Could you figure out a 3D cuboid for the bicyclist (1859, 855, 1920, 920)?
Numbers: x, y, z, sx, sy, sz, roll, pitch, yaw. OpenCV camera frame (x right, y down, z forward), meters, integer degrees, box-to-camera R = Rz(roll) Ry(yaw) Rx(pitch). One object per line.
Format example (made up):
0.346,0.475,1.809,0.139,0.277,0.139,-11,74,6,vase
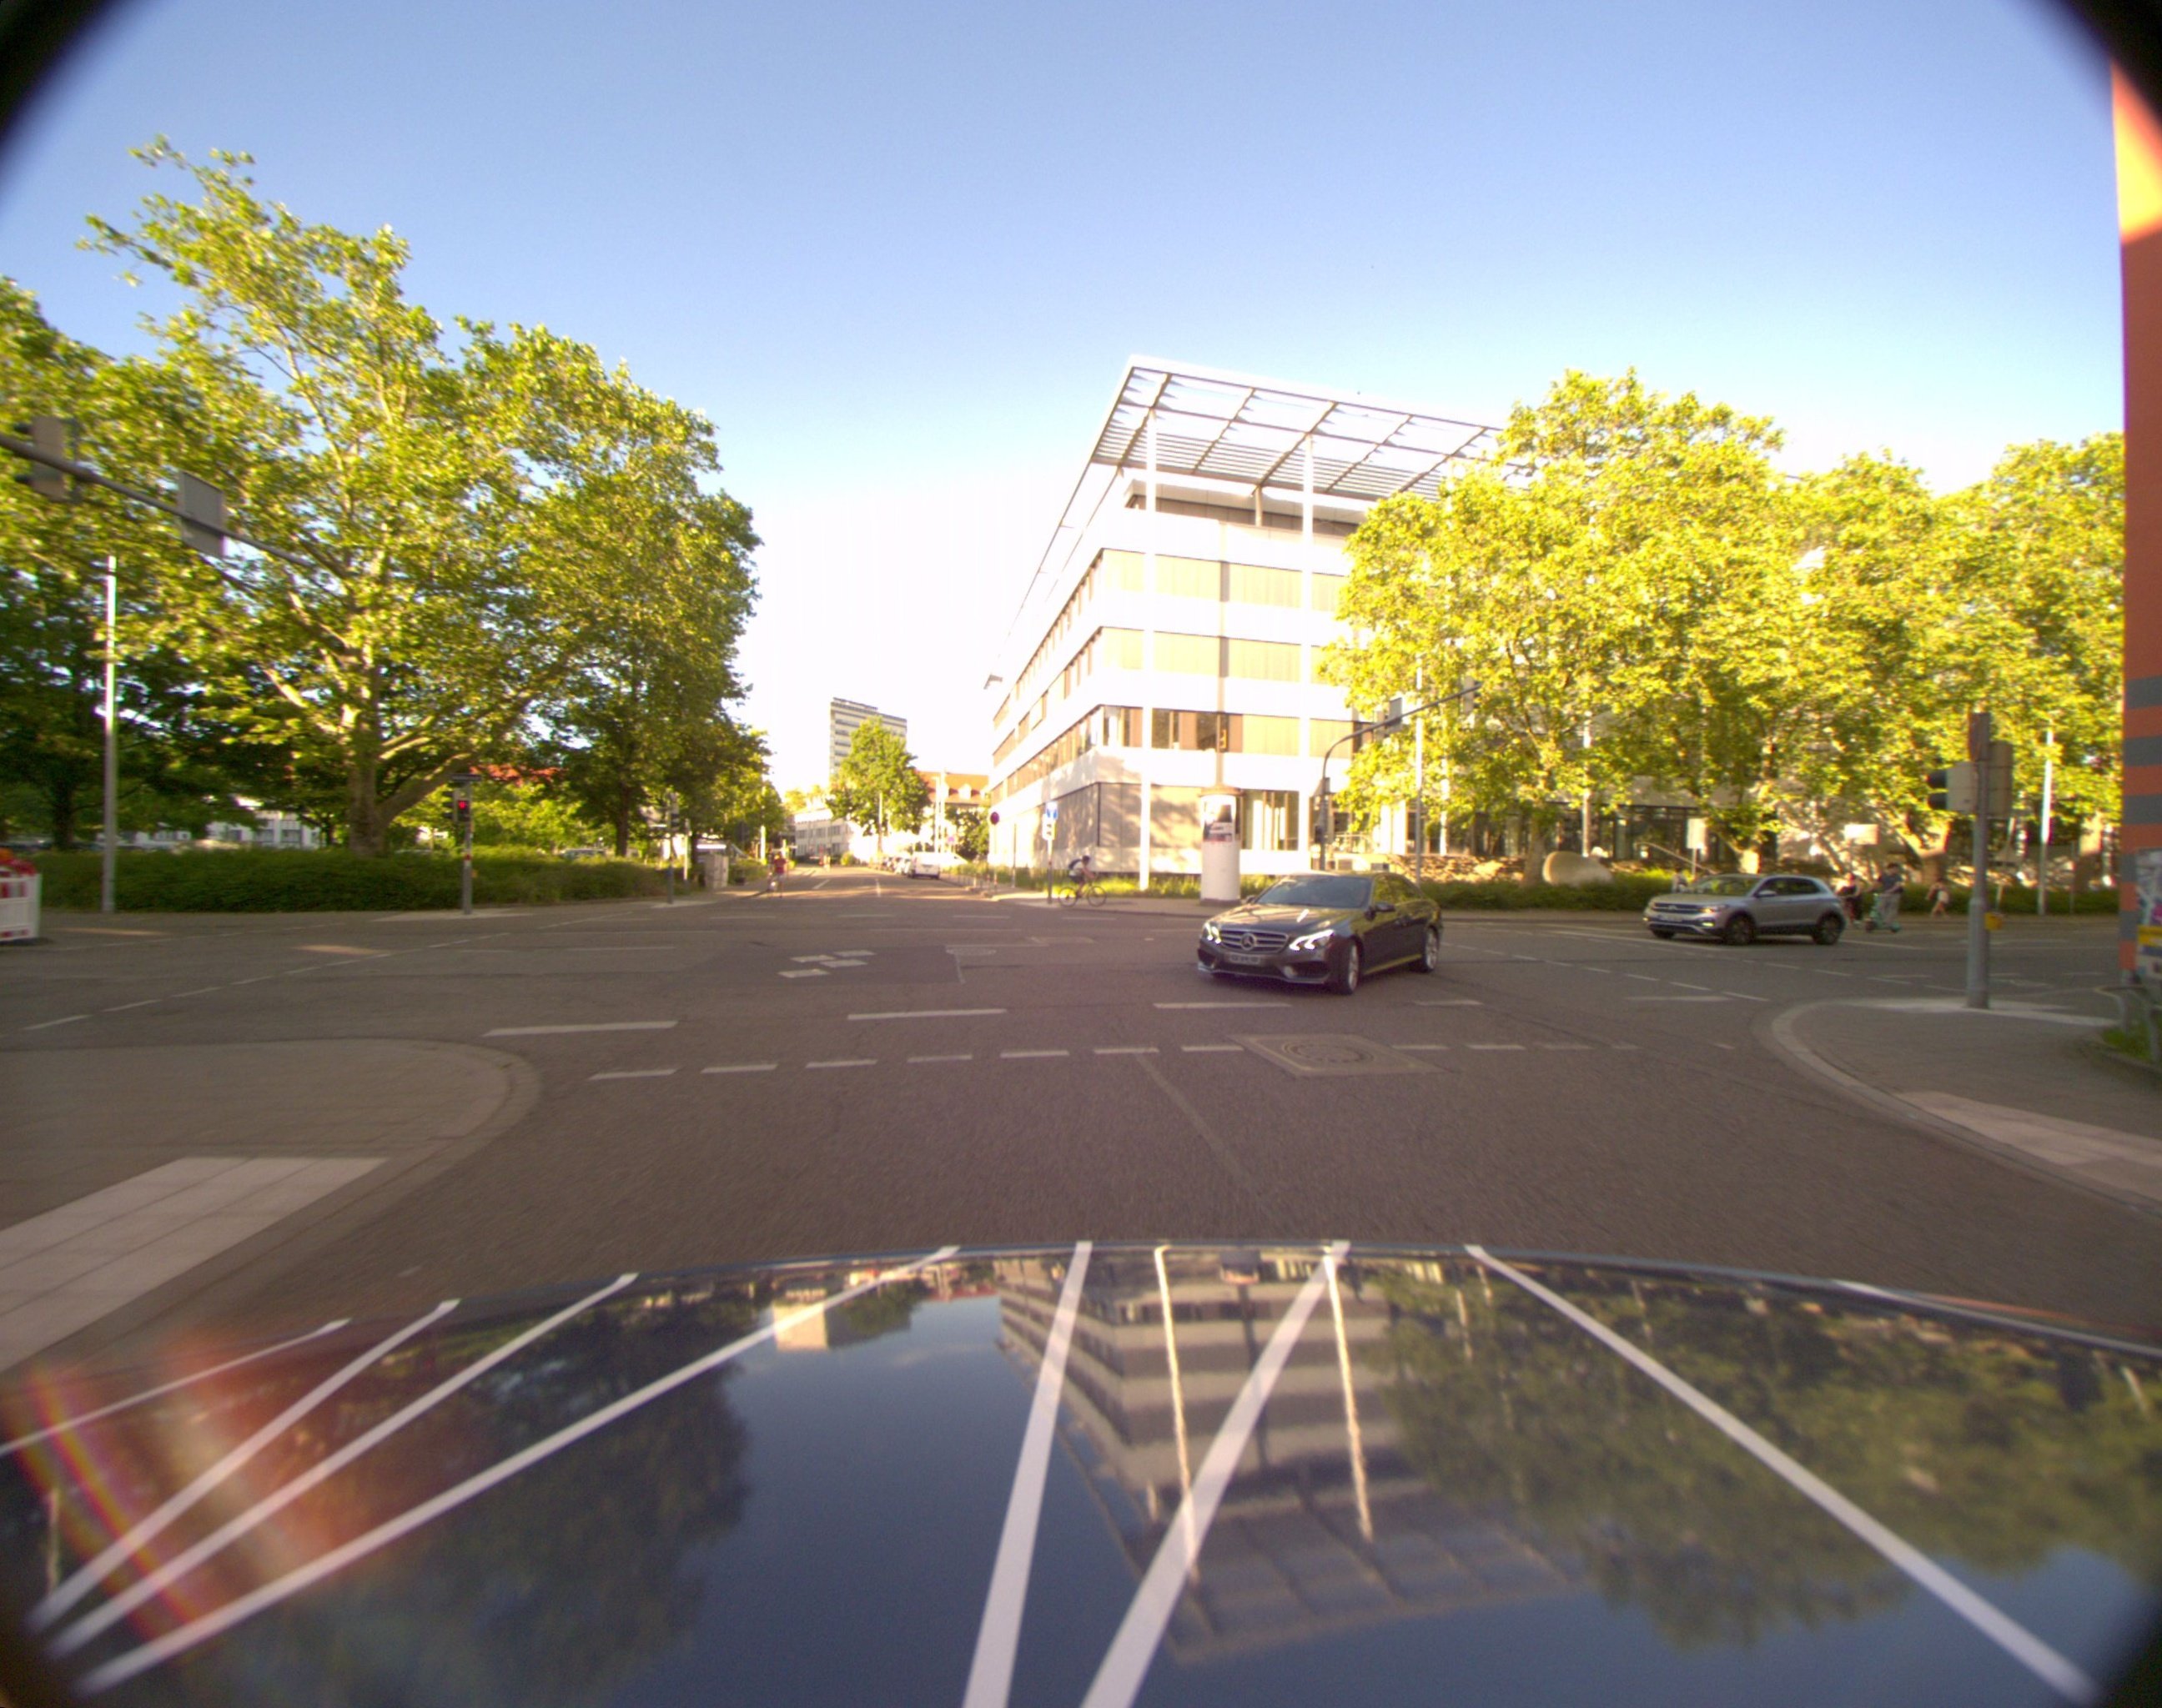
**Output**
22.073,0.915,20.747,0.901,1.722,0.770,0,-1,-14,bicyclist

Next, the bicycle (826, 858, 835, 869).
-23.226,0.892,70.335,0.762,0.944,3.052,0,0,-19,bicycle

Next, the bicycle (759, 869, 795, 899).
-11.386,1.093,28.548,0.943,1.032,3.001,0,0,-16,bicycle

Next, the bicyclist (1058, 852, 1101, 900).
-0.039,0.725,25.549,1.123,1.537,0.955,3,1,18,bicyclist

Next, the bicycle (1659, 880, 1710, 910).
21.534,1.459,27.125,1.648,1.028,0.522,0,0,-14,bicycle

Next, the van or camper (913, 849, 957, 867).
-17.296,0.489,89.897,4.738,2.074,1.996,0,0,-26,van or camper

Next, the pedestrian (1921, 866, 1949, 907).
33.623,1.286,29.914,0.683,1.584,0.462,0,0,-14,pedestrian

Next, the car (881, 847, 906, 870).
-16.569,0.375,67.096,2.001,2.002,3.994,0,0,-16,car

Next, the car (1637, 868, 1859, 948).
14.776,1.141,16.897,4.002,1.594,1.746,1,0,-15,car

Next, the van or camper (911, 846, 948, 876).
-10.698,0.469,53.247,2.164,2.002,4.969,1,0,-15,van or camper

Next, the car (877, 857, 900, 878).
-18.450,1.282,72.669,2.001,2.002,3.994,0,0,-16,car

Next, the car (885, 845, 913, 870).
-15.052,0.273,62.656,2.001,2.002,3.994,0,0,-16,car

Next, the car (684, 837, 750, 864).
-29.216,-0.226,61.112,4.571,2.101,1.996,0,0,-20,car

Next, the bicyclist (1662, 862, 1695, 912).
21.035,1.163,26.745,0.655,1.704,0.634,-1,1,-14,bicyclist

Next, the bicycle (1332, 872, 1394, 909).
9.765,1.246,26.375,0.471,1.175,1.987,-1,1,-43,bicycle

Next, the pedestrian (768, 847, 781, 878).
-18.581,0.496,46.008,0.669,1.844,1.023,0,0,-25,pedestrian

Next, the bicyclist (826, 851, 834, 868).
-23.250,0.478,70.375,0.762,1.583,0.900,0,0,-19,bicyclist

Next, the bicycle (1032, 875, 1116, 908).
-0.227,1.258,25.618,2.654,1.045,0.984,-1,0,18,bicycle

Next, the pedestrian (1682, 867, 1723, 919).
21.147,1.312,25.859,0.692,1.709,0.775,-1,0,-14,pedestrian

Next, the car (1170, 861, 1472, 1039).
3.442,1.046,10.321,4.727,1.461,1.794,-5,6,-43,car

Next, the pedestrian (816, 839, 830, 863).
-36.364,-0.416,107.034,1.462,3.289,1.403,0,0,-33,pedestrian

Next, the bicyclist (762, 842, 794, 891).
-11.319,0.463,28.388,0.979,1.797,1.130,0,0,-16,bicyclist

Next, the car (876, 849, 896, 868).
-21.275,0.498,82.747,2.001,2.001,3.995,0,-1,-16,car
